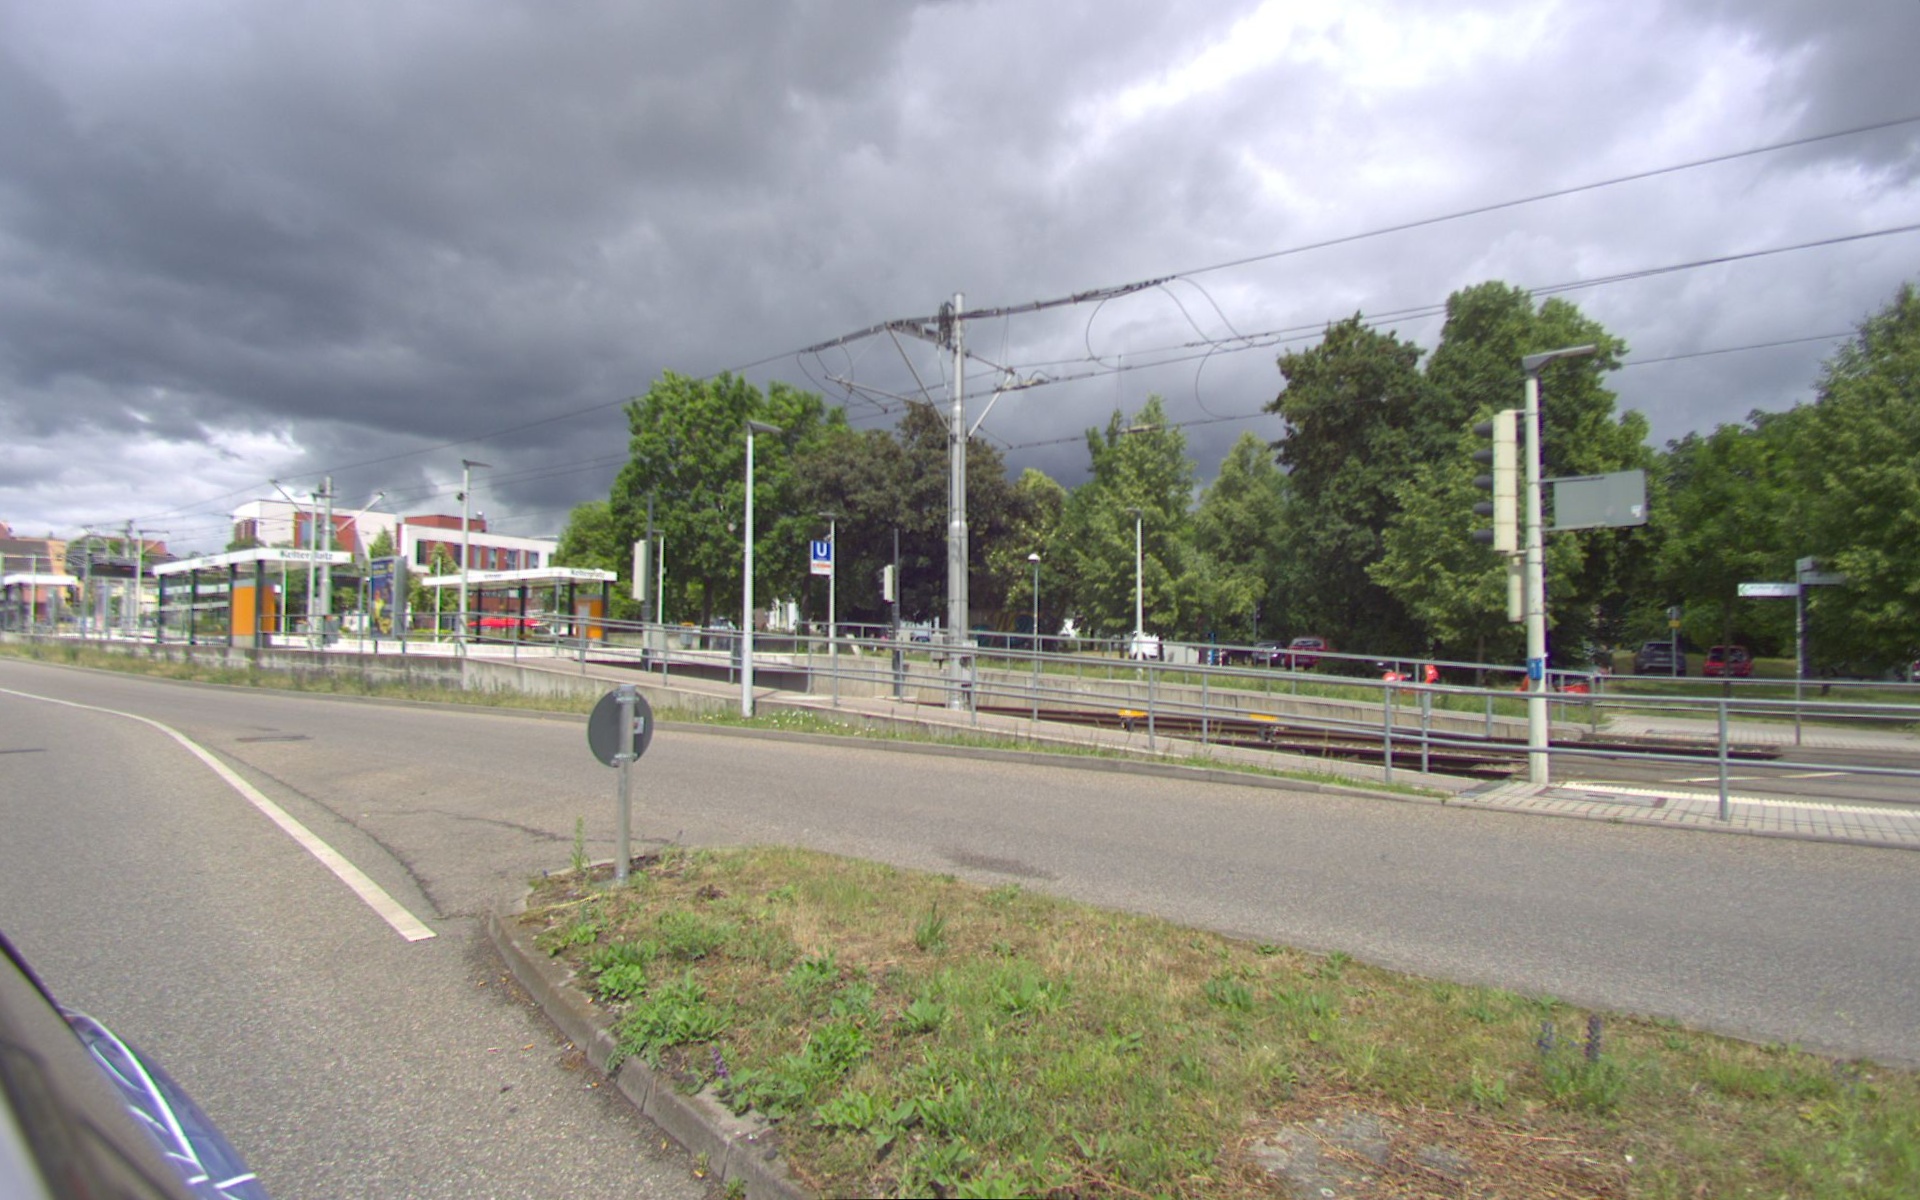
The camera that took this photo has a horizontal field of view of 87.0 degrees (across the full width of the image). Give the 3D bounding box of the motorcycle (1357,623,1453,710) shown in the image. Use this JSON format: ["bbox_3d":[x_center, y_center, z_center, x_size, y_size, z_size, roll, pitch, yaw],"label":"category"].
[{"bbox_3d":[10.930,1.609,24.917,0.822,2.029,1.986,3,-3,-39],"label":"motorcycle"}]

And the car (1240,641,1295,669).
[{"bbox_3d":[17.168,3.072,56.432,1.963,1.503,3.789,-2,-4,33],"label":"car"}]

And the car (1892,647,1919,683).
[{"bbox_3d":[42.962,2.819,43.828,1.467,1.578,3.490,1,-3,-19],"label":"car"}]

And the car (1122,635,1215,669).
[{"bbox_3d":[10.862,2.728,52.812,4.389,1.691,1.928,-2,-4,31],"label":"car"}]

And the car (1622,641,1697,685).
[{"bbox_3d":[30.927,2.739,44.713,3.941,1.849,2.001,3,-4,-45],"label":"car"}]

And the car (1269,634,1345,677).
[{"bbox_3d":[14.775,2.351,43.029,2.049,1.719,3.603,-3,-4,36],"label":"car"}]

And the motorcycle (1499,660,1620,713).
[{"bbox_3d":[13.413,1.909,22.700,2.216,1.089,0.721,-2,-4,45],"label":"motorcycle"}]

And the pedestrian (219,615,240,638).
[{"bbox_3d":[-43.834,1.586,60.721,1.111,1.302,0.749,-1,-4,39],"label":"pedestrian"}]

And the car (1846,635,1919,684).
[{"bbox_3d":[40.103,2.484,42.336,1.966,2.029,4.012,1,-3,-18],"label":"car"}]

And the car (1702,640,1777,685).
[{"bbox_3d":[33.409,2.654,43.344,3.941,1.849,2.001,3,-4,-45],"label":"car"}]
